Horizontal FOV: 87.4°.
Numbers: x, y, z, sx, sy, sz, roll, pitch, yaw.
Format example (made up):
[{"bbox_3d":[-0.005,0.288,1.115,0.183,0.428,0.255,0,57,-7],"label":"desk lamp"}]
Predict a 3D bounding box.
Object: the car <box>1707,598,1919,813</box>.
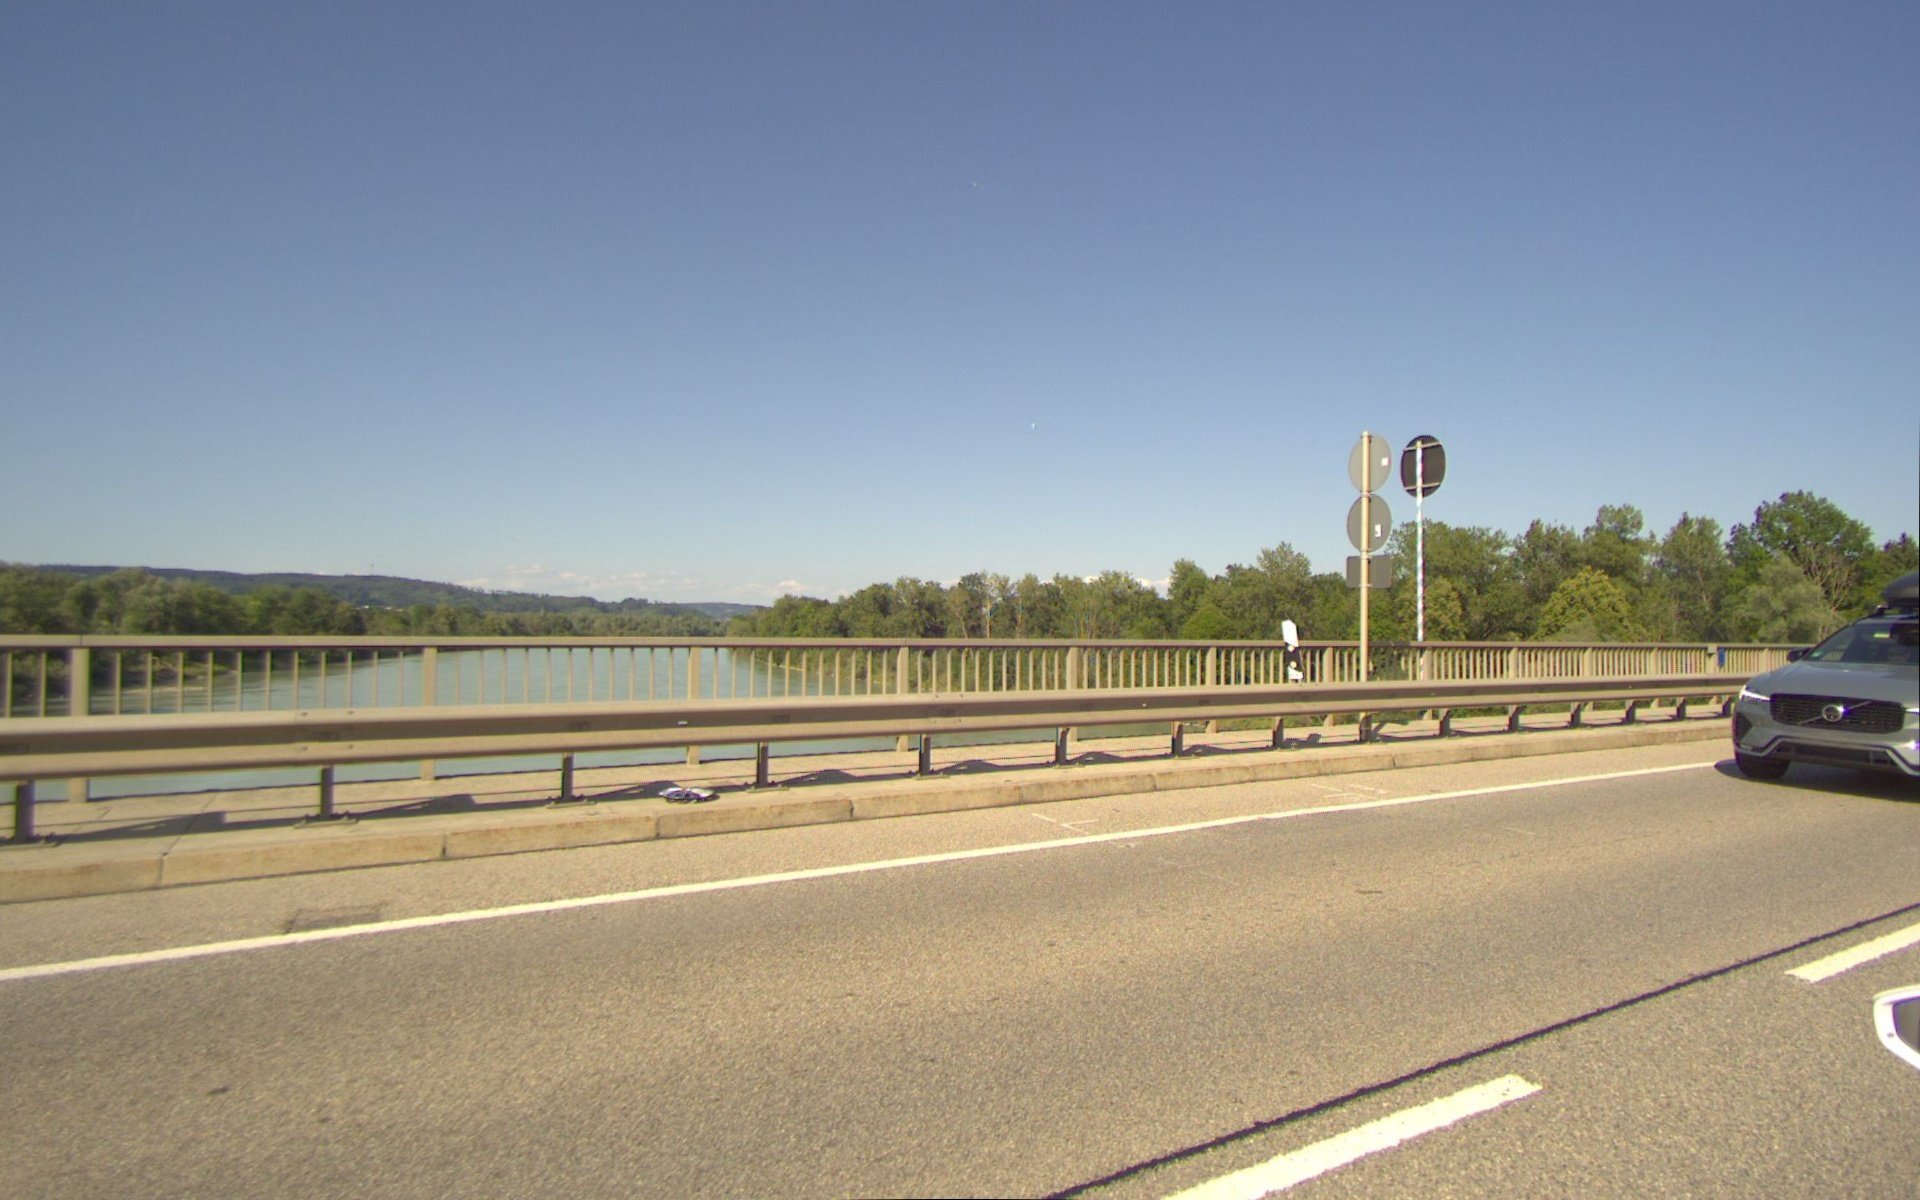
[{"bbox_3d":[9.434,0.912,9.803,4.513,1.745,1.845,2,-1,-31],"label":"car"}]
